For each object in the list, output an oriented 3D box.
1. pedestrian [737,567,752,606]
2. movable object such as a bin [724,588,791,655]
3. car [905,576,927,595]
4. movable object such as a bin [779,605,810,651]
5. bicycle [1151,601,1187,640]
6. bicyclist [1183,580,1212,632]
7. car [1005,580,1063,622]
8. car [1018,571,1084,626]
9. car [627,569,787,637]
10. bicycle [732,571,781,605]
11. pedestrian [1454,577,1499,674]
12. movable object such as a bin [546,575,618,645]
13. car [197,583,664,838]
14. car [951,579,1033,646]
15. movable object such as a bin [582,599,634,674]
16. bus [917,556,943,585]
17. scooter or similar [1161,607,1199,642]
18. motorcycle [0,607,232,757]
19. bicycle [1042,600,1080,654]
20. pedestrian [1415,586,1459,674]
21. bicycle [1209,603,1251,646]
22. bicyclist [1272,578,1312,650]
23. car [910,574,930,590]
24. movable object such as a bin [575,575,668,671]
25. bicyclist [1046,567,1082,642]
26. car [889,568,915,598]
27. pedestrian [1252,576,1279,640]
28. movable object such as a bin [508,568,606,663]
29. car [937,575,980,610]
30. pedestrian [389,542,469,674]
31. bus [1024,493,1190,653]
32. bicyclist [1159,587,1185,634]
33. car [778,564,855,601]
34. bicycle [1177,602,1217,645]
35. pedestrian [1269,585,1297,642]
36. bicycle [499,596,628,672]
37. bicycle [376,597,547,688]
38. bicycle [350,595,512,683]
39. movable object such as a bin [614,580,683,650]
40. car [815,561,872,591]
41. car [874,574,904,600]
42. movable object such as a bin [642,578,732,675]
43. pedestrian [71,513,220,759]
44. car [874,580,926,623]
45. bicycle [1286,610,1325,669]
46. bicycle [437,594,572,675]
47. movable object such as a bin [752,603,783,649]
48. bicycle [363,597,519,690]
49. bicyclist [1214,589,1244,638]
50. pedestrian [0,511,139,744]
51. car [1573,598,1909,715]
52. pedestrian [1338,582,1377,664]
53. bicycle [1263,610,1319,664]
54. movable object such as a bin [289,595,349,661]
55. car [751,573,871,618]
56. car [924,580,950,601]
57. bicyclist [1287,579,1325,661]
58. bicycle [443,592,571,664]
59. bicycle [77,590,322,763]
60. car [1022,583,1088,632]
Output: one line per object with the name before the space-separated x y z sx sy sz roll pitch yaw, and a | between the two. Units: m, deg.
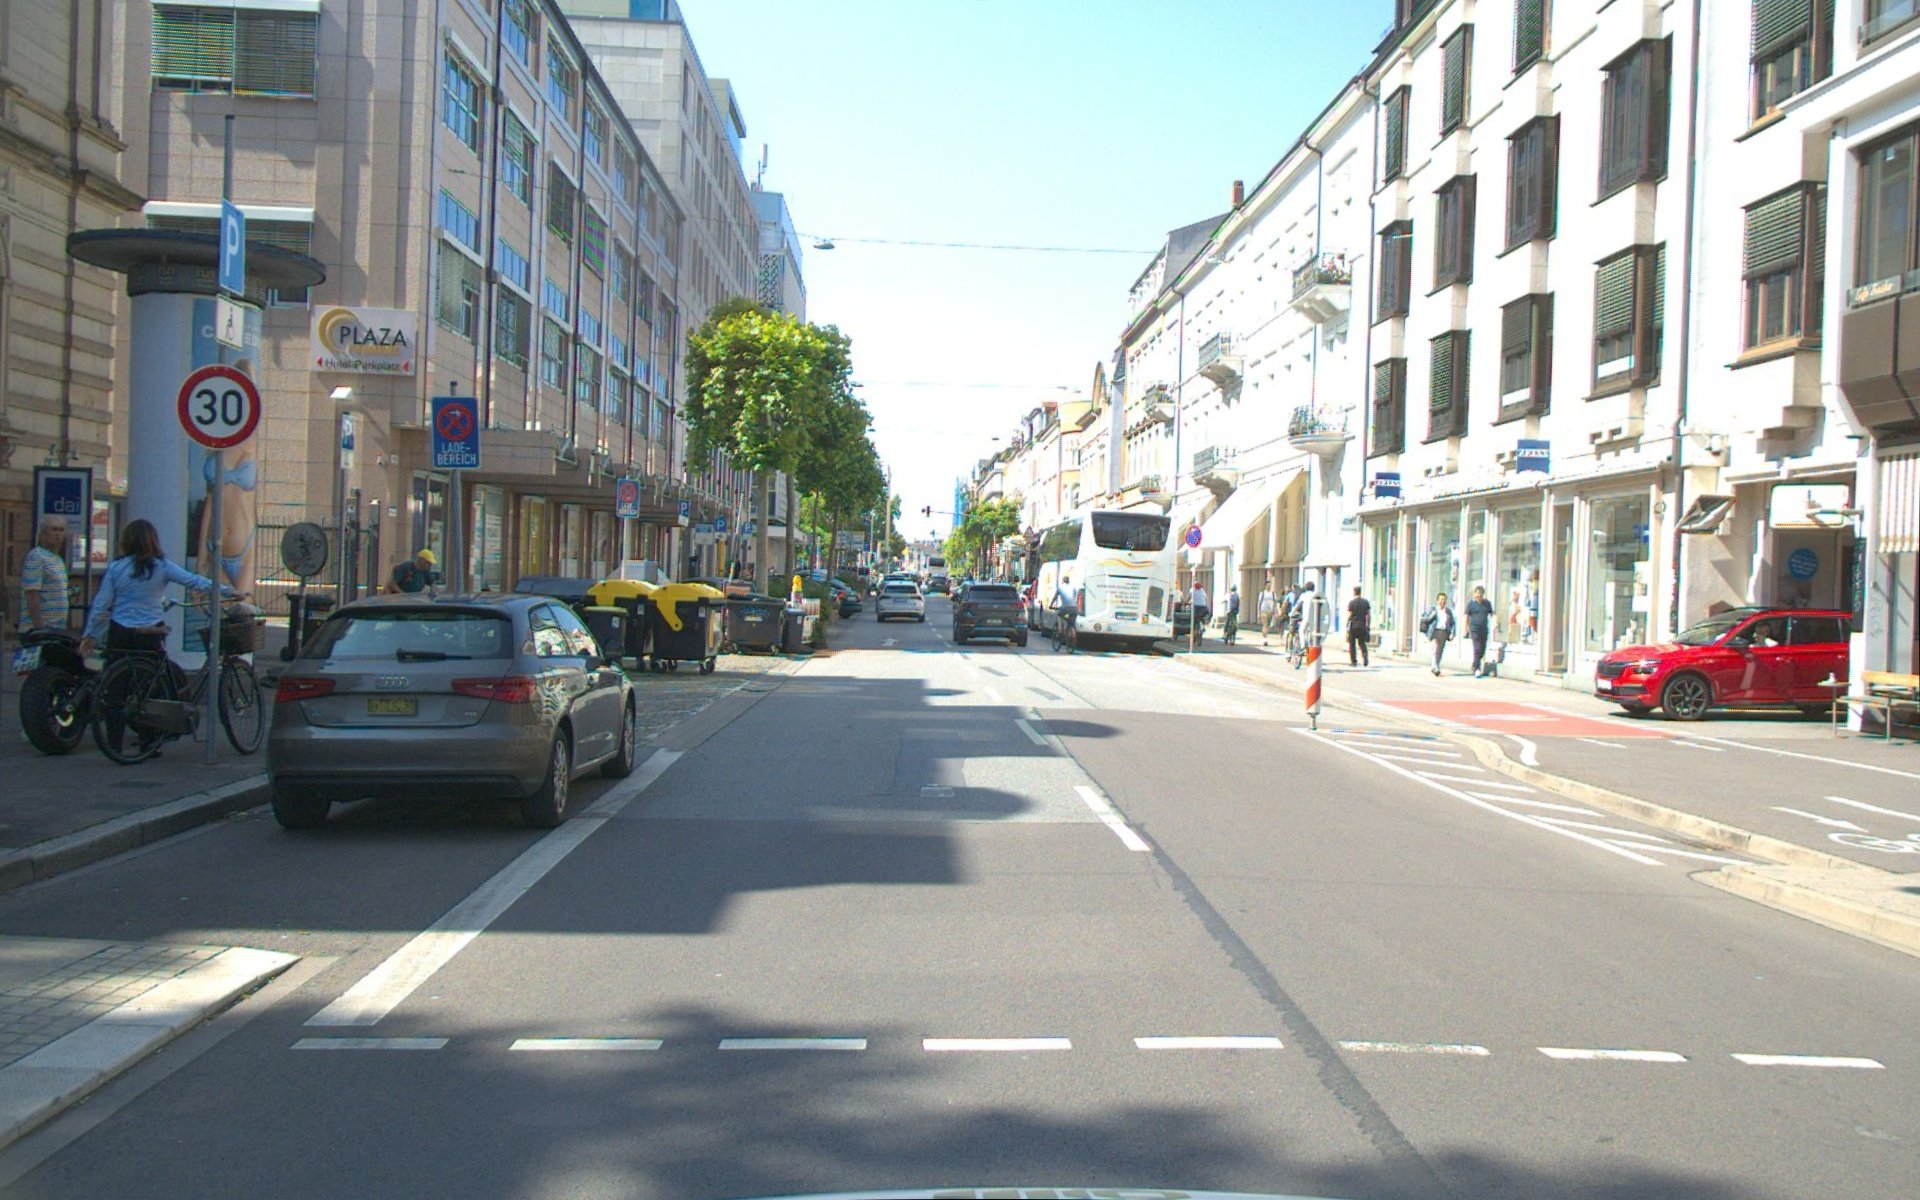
pedestrian | -9.362 -0.582 71.959 0.555 1.686 0.635 2 0 -11
movable object such as a bin | -4.195 0.431 34.364 1.251 1.322 0.853 2 0 -2
car | -3.779 -1.243 142.618 1.826 1.466 3.997 1 -1 -3
movable object such as a bin | -3.594 0.603 35.921 0.547 0.955 0.496 -1 1 -28
bicycle | 6.355 0.613 50.413 0.608 1.118 2.351 2 0 -4
bicyclist | 6.594 0.159 45.890 0.608 1.394 0.780 2 0 -4
car | 3.046 0.015 68.722 1.777 1.491 4.577 3 2 -5
car | 3.442 -0.083 63.275 1.792 1.895 4.350 3 1 -6
car | -6.584 0.068 42.921 3.983 1.520 1.926 4 2 39
bicycle | -8.829 -0.526 71.814 2.027 1.311 0.367 4 0 -10
pedestrian | 10.233 0.503 32.799 0.680 1.883 0.836 1 -1 6
movable object such as a bin | -7.775 0.196 34.091 1.184 1.322 1.127 3 2 -2
car | -3.381 0.605 11.498 1.897 1.378 4.249 1 1 -1
car | 0.771 0.285 42.279 1.796 1.554 3.998 2 0 -3
movable object such as a bin | -5.562 0.571 26.175 0.709 1.117 0.655 3 1 -10
bus | -3.955 -3.816 215.313 2.716 3.667 8.965 1 1 -5
scooter or similar | 6.450 0.717 48.604 0.848 0.973 1.212 2 0 -4
motorcycle | -6.381 0.573 12.577 0.444 1.015 2.162 3 0 7
bicycle | 2.399 0.623 39.571 0.651 1.139 2.243 4 1 -2
pedestrian | 9.535 0.587 33.111 0.680 1.715 0.836 1 0 6
bicycle | 7.568 0.679 46.487 0.608 1.118 2.351 2 0 -4
bicyclist | 7.431 0.308 37.029 0.608 1.556 0.868 2 0 -4
car | -3.918 -1.771 162.146 1.826 1.466 3.997 1 -1 -3
movable object such as a bin | -5.646 0.367 27.690 1.100 1.475 1.439 3 2 4
bicyclist | 2.479 0.101 39.456 0.680 1.702 0.915 4 2 -1
car | -4.338 -1.242 122.994 1.826 2.065 3.998 2 -1 -3
pedestrian | 8.717 0.234 47.209 0.561 1.809 1.020 1 -1 1
movable object such as a bin | -6.773 0.238 27.881 1.184 1.475 1.365 3 2 4
car | -0.078 -0.319 75.406 1.796 1.554 3.998 0 -1 -2
pedestrian | -7.320 0.109 22.827 0.872 1.755 0.747 2 0 -9
bus | 3.895 -0.759 47.360 2.824 3.806 12.420 4 1 -3
bicyclist | 6.401 0.312 49.959 0.608 1.394 0.780 2 0 -4
car | -8.086 -0.984 93.173 3.910 1.594 1.699 7 1 23
bicycle | 6.575 0.641 45.953 0.608 1.118 2.351 2 0 -4
pedestrian | 9.358 0.393 47.995 0.632 1.645 0.822 1 -1 1
bicycle | -6.443 0.551 26.922 1.929 1.140 0.508 3 -1 -6
bicycle | -6.981 0.595 23.269 2.198 1.140 0.555 4 -1 -14
bicycle | -6.973 0.516 21.892 1.929 1.035 0.669 4 -1 -14
movable object such as a bin | -6.408 0.298 34.104 1.184 1.322 1.079 4 2 -2
car | -9.899 -2.034 140.311 4.636 2.038 1.933 6 0 38
car | -4.282 -0.809 99.934 1.708 1.466 3.998 1 1 -2
movable object such as a bin | -4.544 0.422 27.627 1.100 1.475 1.439 3 2 4
pedestrian | -5.915 0.256 12.047 0.680 1.725 0.691 1 -1 0
car | -2.235 0.040 61.491 1.825 1.466 3.999 2 1 -2
bicycle | 7.153 0.800 34.294 0.582 1.140 1.802 2 1 6
bicycle | -7.210 0.546 26.237 1.936 1.140 0.508 4 -1 -6
movable object such as a bin | -4.151 0.553 35.652 0.488 0.955 0.556 0 1 14
bicycle | -7.067 0.593 22.609 1.926 1.140 0.555 4 -1 -14
bicyclist | 7.568 0.375 46.612 0.608 1.319 0.866 2 0 -4
pedestrian | -6.806 0.202 12.581 0.537 1.694 0.937 1 -1 6
car | 11.096 0.800 23.686 3.962 1.521 1.841 1 -2 -1
pedestrian | 8.675 0.509 36.107 0.607 1.750 0.835 2 -1 0
bicycle | 7.408 0.805 37.145 0.608 1.118 2.351 2 0 -4
movable object such as a bin | -8.752 0.383 22.594 0.642 0.891 0.510 1 -2 -10
car | -5.934 -0.191 65.512 4.707 1.447 1.874 4 2 38
car | -1.737 -0.699 124.488 1.826 1.466 3.998 1 1 -3
bicyclist | 7.138 0.401 34.148 0.679 1.654 0.836 1 0 7
bicycle | -6.949 0.433 25.419 1.808 1.092 0.556 0 -1 -6
bicycle | -5.570 0.544 12.294 0.420 1.140 2.245 3 -1 9
car | 3.256 0.230 57.730 1.822 1.495 5.224 3 1 -1
